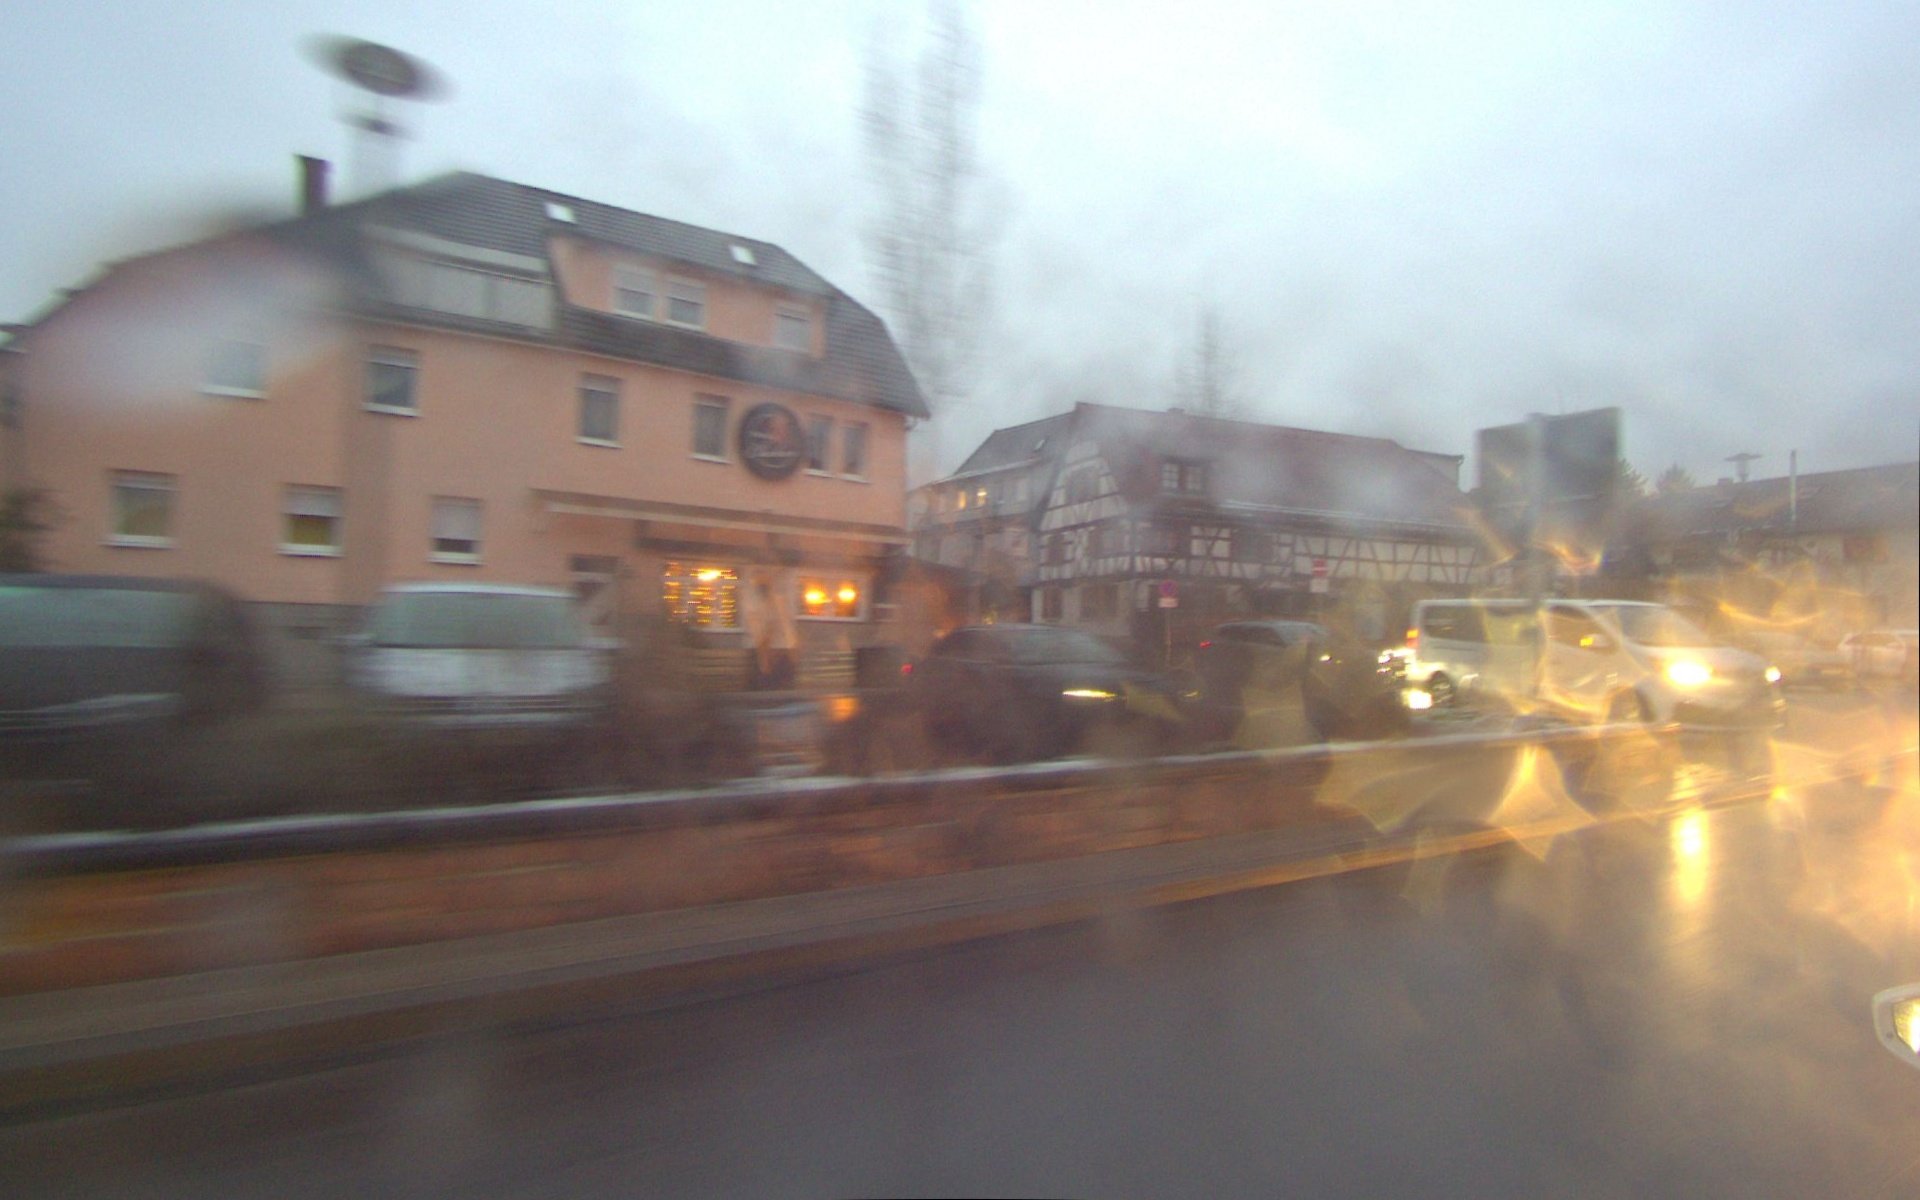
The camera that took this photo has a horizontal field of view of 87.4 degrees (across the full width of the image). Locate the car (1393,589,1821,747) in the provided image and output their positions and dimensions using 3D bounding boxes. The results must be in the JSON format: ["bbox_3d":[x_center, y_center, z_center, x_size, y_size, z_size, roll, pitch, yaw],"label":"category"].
[{"bbox_3d":[9.512,0.870,15.588,1.958,1.972,5.760,0,0,-16],"label":"car"}]

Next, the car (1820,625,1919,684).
[{"bbox_3d":[28.338,1.619,29.942,1.947,1.675,4.660,1,-2,9],"label":"car"}]

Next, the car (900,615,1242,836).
[{"bbox_3d":[1.009,1.244,11.204,1.729,1.977,4.011,0,-3,-30],"label":"car"}]

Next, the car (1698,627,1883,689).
[{"bbox_3d":[21.722,1.486,26.520,1.722,1.478,4.076,1,-2,4],"label":"car"}]

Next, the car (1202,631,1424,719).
[{"bbox_3d":[7.485,1.591,21.918,1.970,1.657,4.750,0,-3,-20],"label":"car"}]

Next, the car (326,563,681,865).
[{"bbox_3d":[-3.827,0.718,8.304,1.975,1.706,4.847,0,-2,-28],"label":"car"}]

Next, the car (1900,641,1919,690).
[{"bbox_3d":[31.743,2.066,31.207,1.686,1.603,4.117,0,-3,9],"label":"car"}]

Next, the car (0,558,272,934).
[{"bbox_3d":[-6.158,0.796,6.897,1.976,1.891,4.482,1,-2,-30],"label":"car"}]

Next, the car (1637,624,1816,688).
[{"bbox_3d":[19.136,1.383,25.318,1.727,1.478,3.936,-1,-2,5],"label":"car"}]

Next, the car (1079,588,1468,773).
[{"bbox_3d":[3.339,0.811,11.466,1.976,1.706,3.969,1,-2,-30],"label":"car"}]
